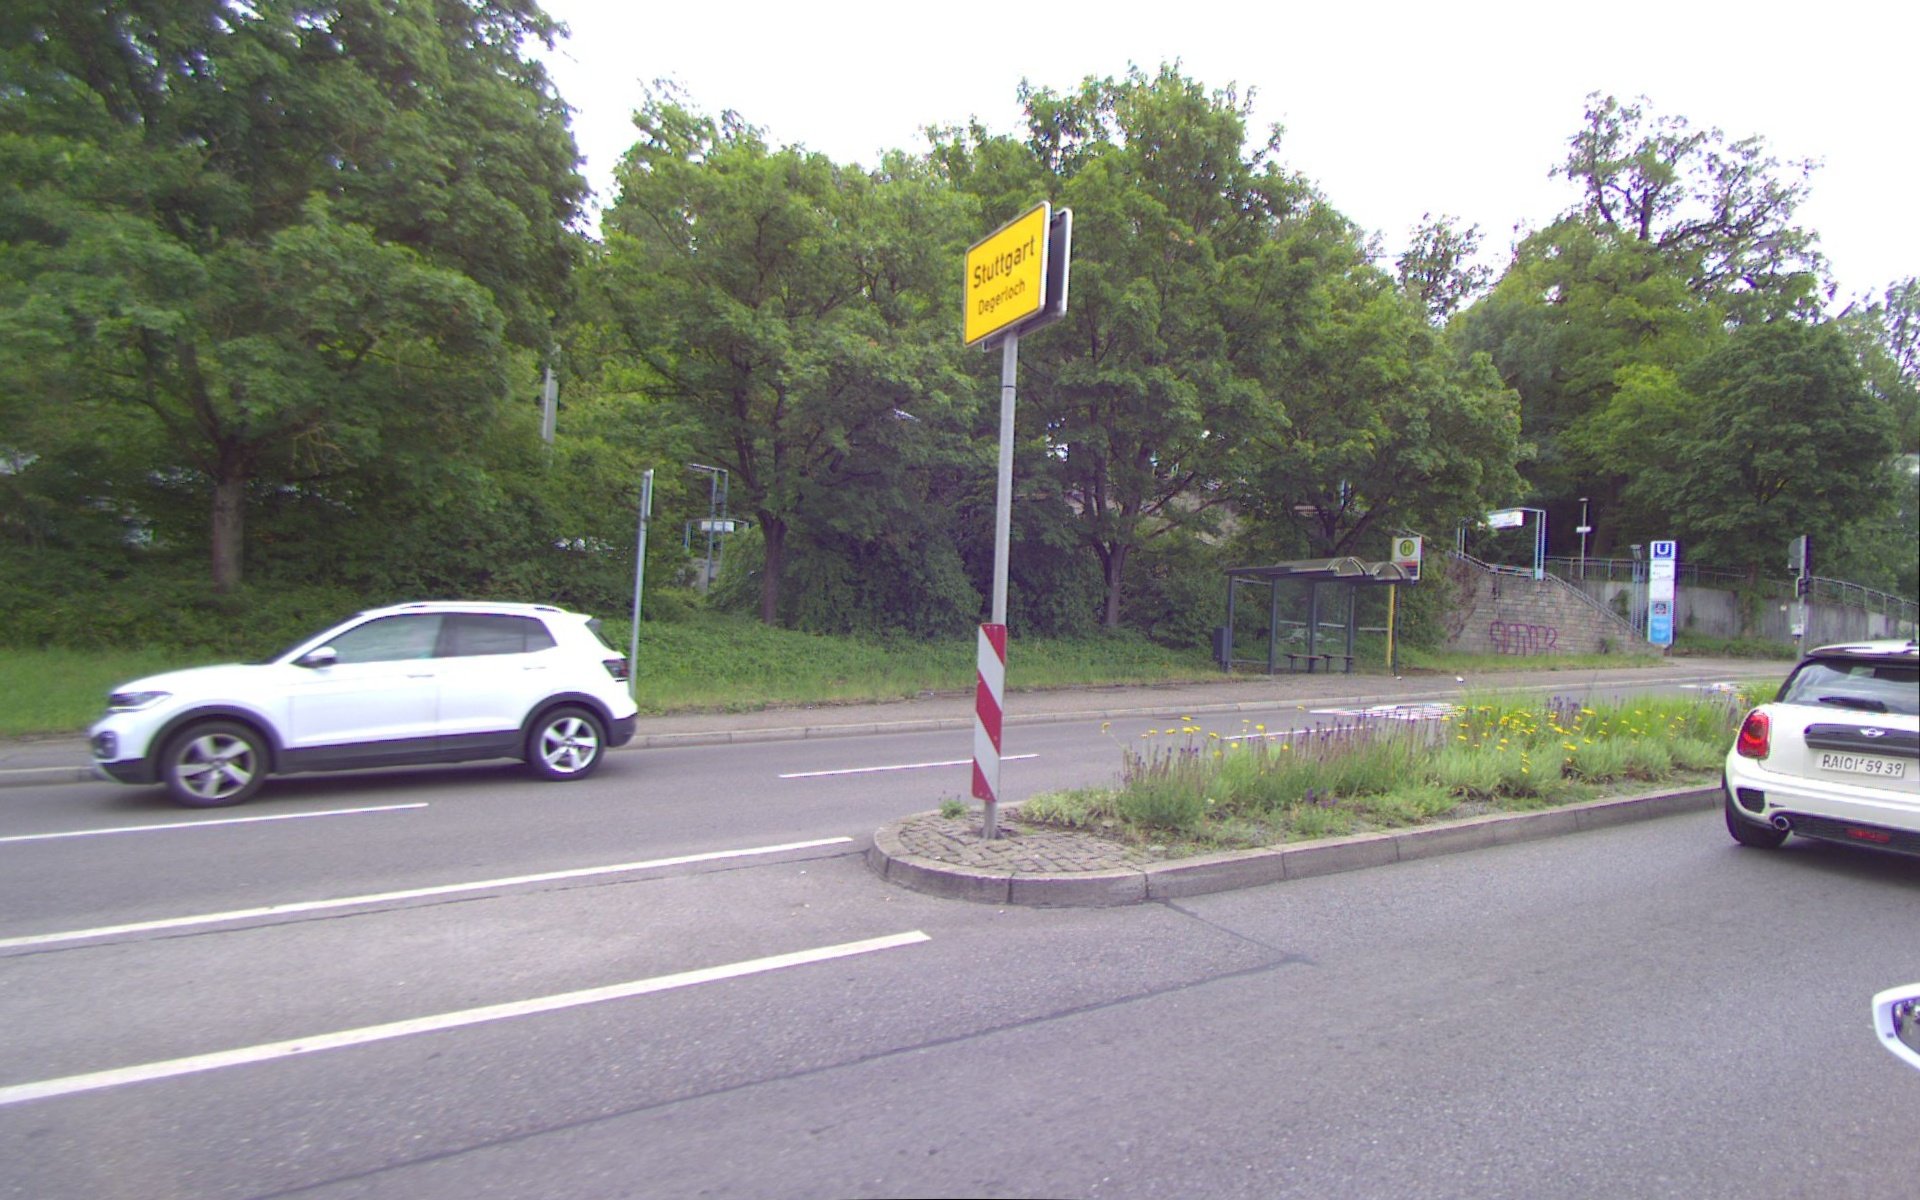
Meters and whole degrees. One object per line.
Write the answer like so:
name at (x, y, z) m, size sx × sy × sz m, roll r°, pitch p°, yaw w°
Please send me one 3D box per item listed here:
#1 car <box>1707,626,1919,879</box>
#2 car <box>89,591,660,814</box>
car at (6.822, 0.906, 6.735) m, size 3.522 × 1.412 × 1.621 m, roll 1°, pitch -1°, yaw -29°
car at (-4.921, 0.760, 8.910) m, size 4.001 × 1.561 × 1.718 m, roll 1°, pitch 0°, yaw -34°
